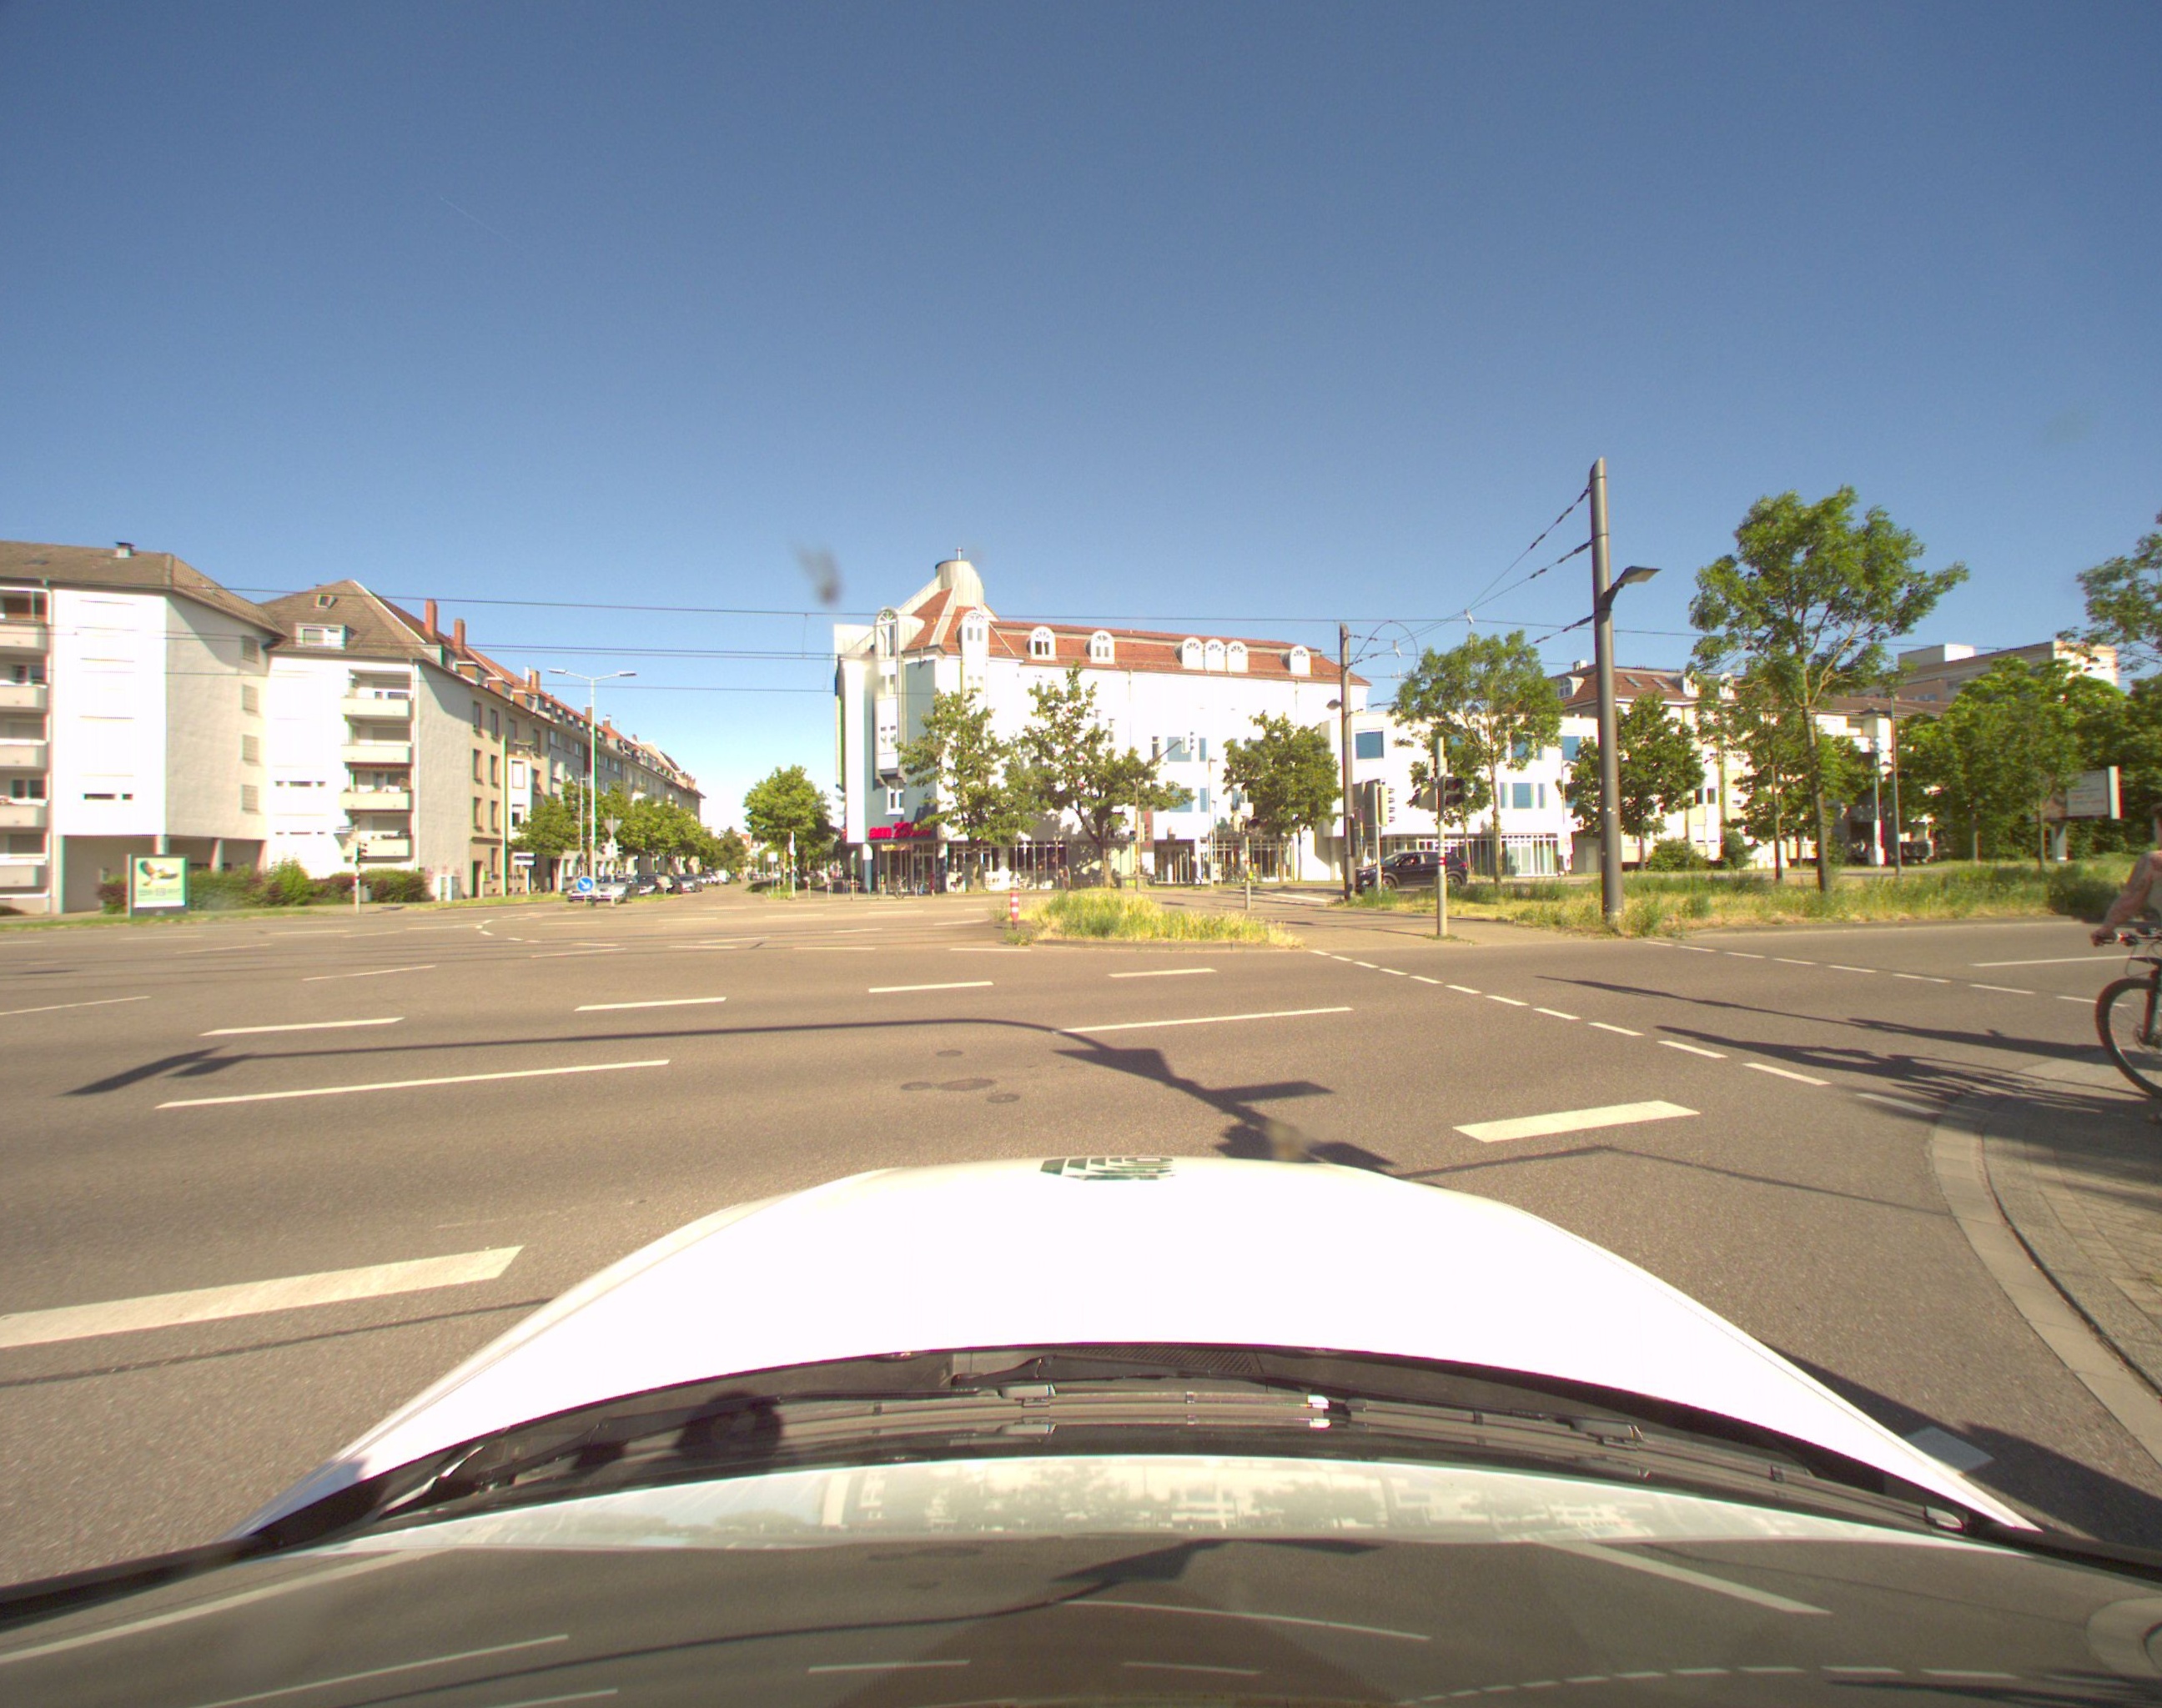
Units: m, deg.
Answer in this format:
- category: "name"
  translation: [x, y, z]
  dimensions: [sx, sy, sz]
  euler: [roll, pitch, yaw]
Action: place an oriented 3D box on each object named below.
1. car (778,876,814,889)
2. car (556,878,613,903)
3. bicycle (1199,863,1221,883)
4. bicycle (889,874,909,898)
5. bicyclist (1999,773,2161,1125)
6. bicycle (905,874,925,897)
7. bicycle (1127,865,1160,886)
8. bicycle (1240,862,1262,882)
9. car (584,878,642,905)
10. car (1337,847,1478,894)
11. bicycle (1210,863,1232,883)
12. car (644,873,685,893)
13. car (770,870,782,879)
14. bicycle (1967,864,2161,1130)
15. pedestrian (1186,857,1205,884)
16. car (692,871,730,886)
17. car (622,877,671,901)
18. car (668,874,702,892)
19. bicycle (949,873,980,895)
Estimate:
- category: "car"
  translation: [-30.053, 3.017, 86.052]
  dimensions: [3.578, 1.223, 1.720]
  euler: [0, -2, -19]
- category: "car"
  translation: [-29.928, 2.168, 49.215]
  dimensions: [1.690, 1.432, 4.378]
  euler: [1, -2, -14]
- category: "bicycle"
  translation: [7.955, 1.158, 50.290]
  dimensions: [0.562, 1.182, 1.858]
  euler: [-1, -1, -18]
- category: "bicycle"
  translation: [-8.354, 1.462, 37.346]
  dimensions: [0.474, 1.027, 1.502]
  euler: [-1, -1, -28]
- category: "bicyclist"
  translation: [6.151, 0.484, 4.603]
  dimensions: [0.783, 1.824, 1.141]
  euler: [-2, -1, 21]
- category: "bicycle"
  translation: [-7.759, 1.457, 38.070]
  dimensions: [0.474, 1.027, 1.502]
  euler: [-1, -1, -29]
- category: "bicycle"
  translation: [3.669, 1.263, 47.750]
  dimensions: [1.870, 1.182, 0.558]
  euler: [-1, -1, -21]
- category: "bicycle"
  translation: [10.643, 1.126, 51.006]
  dimensions: [0.561, 1.182, 1.860]
  euler: [-1, -1, -15]
- category: "car"
  translation: [-26.926, 2.145, 46.996]
  dimensions: [1.690, 1.432, 4.377]
  euler: [1, -2, -14]
- category: "car"
  translation: [12.248, 0.621, 30.700]
  dimensions: [4.498, 1.609, 1.995]
  euler: [-1, -1, -8]
- category: "bicycle"
  translation: [8.731, 1.182, 50.850]
  dimensions: [0.562, 1.182, 1.858]
  euler: [-1, -1, -18]
- category: "car"
  translation: [-30.222, 2.098, 59.217]
  dimensions: [1.690, 1.432, 4.378]
  euler: [1, -2, -14]
- category: "car"
  translation: [-62.360, 4.276, 166.343]
  dimensions: [1.998, 1.756, 4.493]
  euler: [0, -2, -17]
- category: "bicycle"
  translation: [6.113, 0.751, 4.485]
  dimensions: [0.783, 1.348, 2.089]
  euler: [-2, -1, 21]
- category: "pedestrian"
  translation: [7.219, 1.036, 51.473]
  dimensions: [0.992, 1.723, 0.650]
  euler: [-1, -1, -18]
- category: "car"
  translation: [-50.816, 3.388, 111.880]
  dimensions: [4.519, 2.014, 1.986]
  euler: [0, -2, -20]
- category: "car"
  translation: [-28.448, 2.272, 53.446]
  dimensions: [1.689, 1.432, 4.380]
  euler: [1, -2, -12]
- category: "car"
  translation: [-32.698, 2.378, 67.421]
  dimensions: [1.691, 1.432, 4.376]
  euler: [2, -2, -15]
- category: "bicycle"
  translation: [-5.781, 1.502, 40.486]
  dimensions: [1.509, 1.027, 0.472]
  euler: [-1, -1, -7]
